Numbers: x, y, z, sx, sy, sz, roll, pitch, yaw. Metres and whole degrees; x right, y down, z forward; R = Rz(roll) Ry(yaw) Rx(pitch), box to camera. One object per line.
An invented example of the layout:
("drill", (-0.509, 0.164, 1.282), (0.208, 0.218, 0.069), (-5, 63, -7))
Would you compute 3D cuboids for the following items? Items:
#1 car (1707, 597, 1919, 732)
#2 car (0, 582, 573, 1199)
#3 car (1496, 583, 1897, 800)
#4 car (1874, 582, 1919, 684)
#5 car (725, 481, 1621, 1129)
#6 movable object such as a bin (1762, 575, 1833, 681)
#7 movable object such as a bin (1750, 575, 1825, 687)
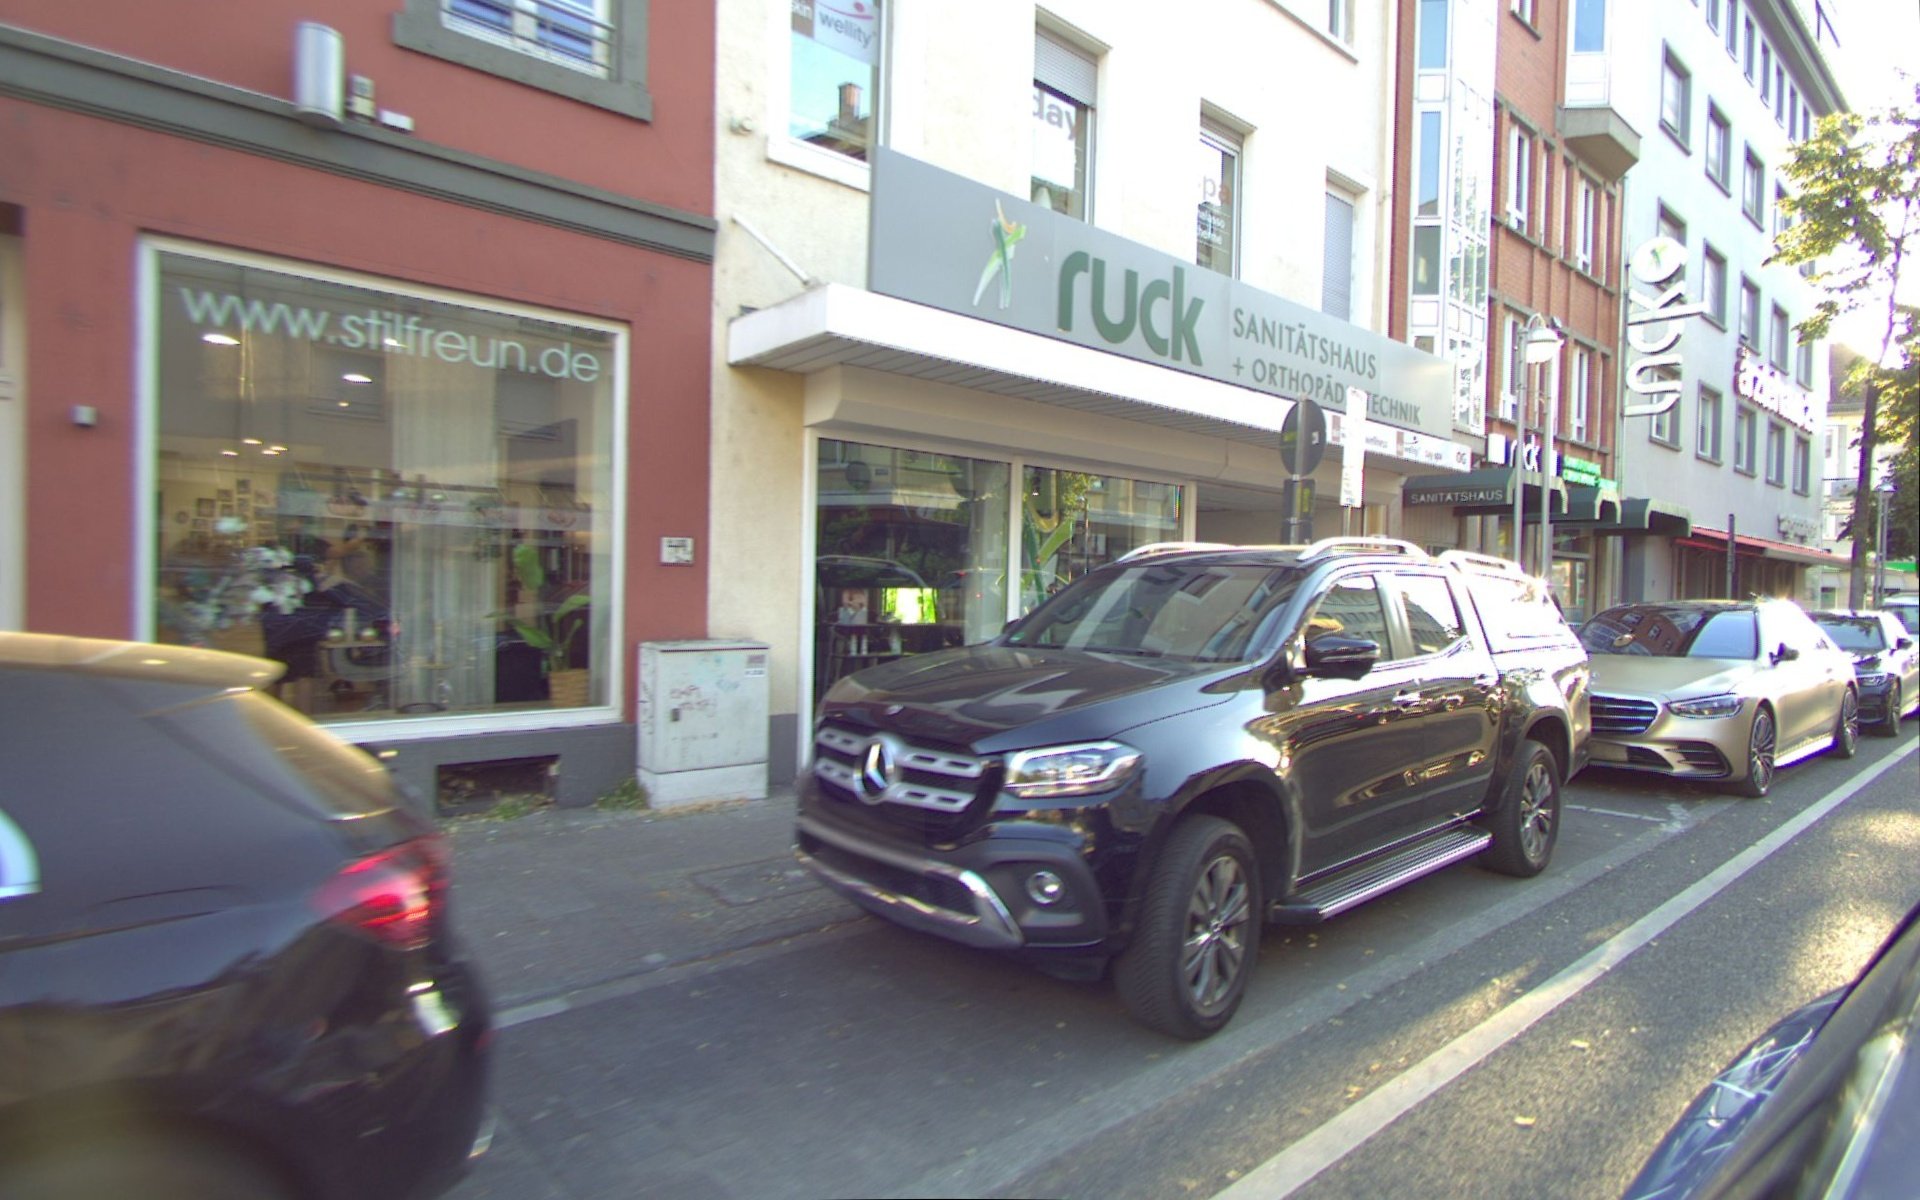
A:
("car", (11.280, 0.705, 13.026), (4.430, 1.438, 1.756), (0, 0, -41))
("car", (-2.918, 0.733, 1.259), (4.230, 1.502, 1.765), (-1, 1, -40))
("car", (7.043, 0.619, 9.453), (4.903, 1.546, 1.816), (-1, 1, -39))
("car", (18.529, 0.590, 19.064), (3.944, 1.801, 1.656), (1, 0, -44))
("car", (1.500, 0.527, 5.142), (4.972, 1.776, 1.886), (-1, 1, -42))
("movable object such as a bin", (14.814, 0.465, 17.896), (1.186, 1.796, 0.835), (0, 0, -44))
("movable object such as a bin", (13.901, 0.480, 16.998), (1.331, 1.796, 0.835), (-1, 0, -44))
